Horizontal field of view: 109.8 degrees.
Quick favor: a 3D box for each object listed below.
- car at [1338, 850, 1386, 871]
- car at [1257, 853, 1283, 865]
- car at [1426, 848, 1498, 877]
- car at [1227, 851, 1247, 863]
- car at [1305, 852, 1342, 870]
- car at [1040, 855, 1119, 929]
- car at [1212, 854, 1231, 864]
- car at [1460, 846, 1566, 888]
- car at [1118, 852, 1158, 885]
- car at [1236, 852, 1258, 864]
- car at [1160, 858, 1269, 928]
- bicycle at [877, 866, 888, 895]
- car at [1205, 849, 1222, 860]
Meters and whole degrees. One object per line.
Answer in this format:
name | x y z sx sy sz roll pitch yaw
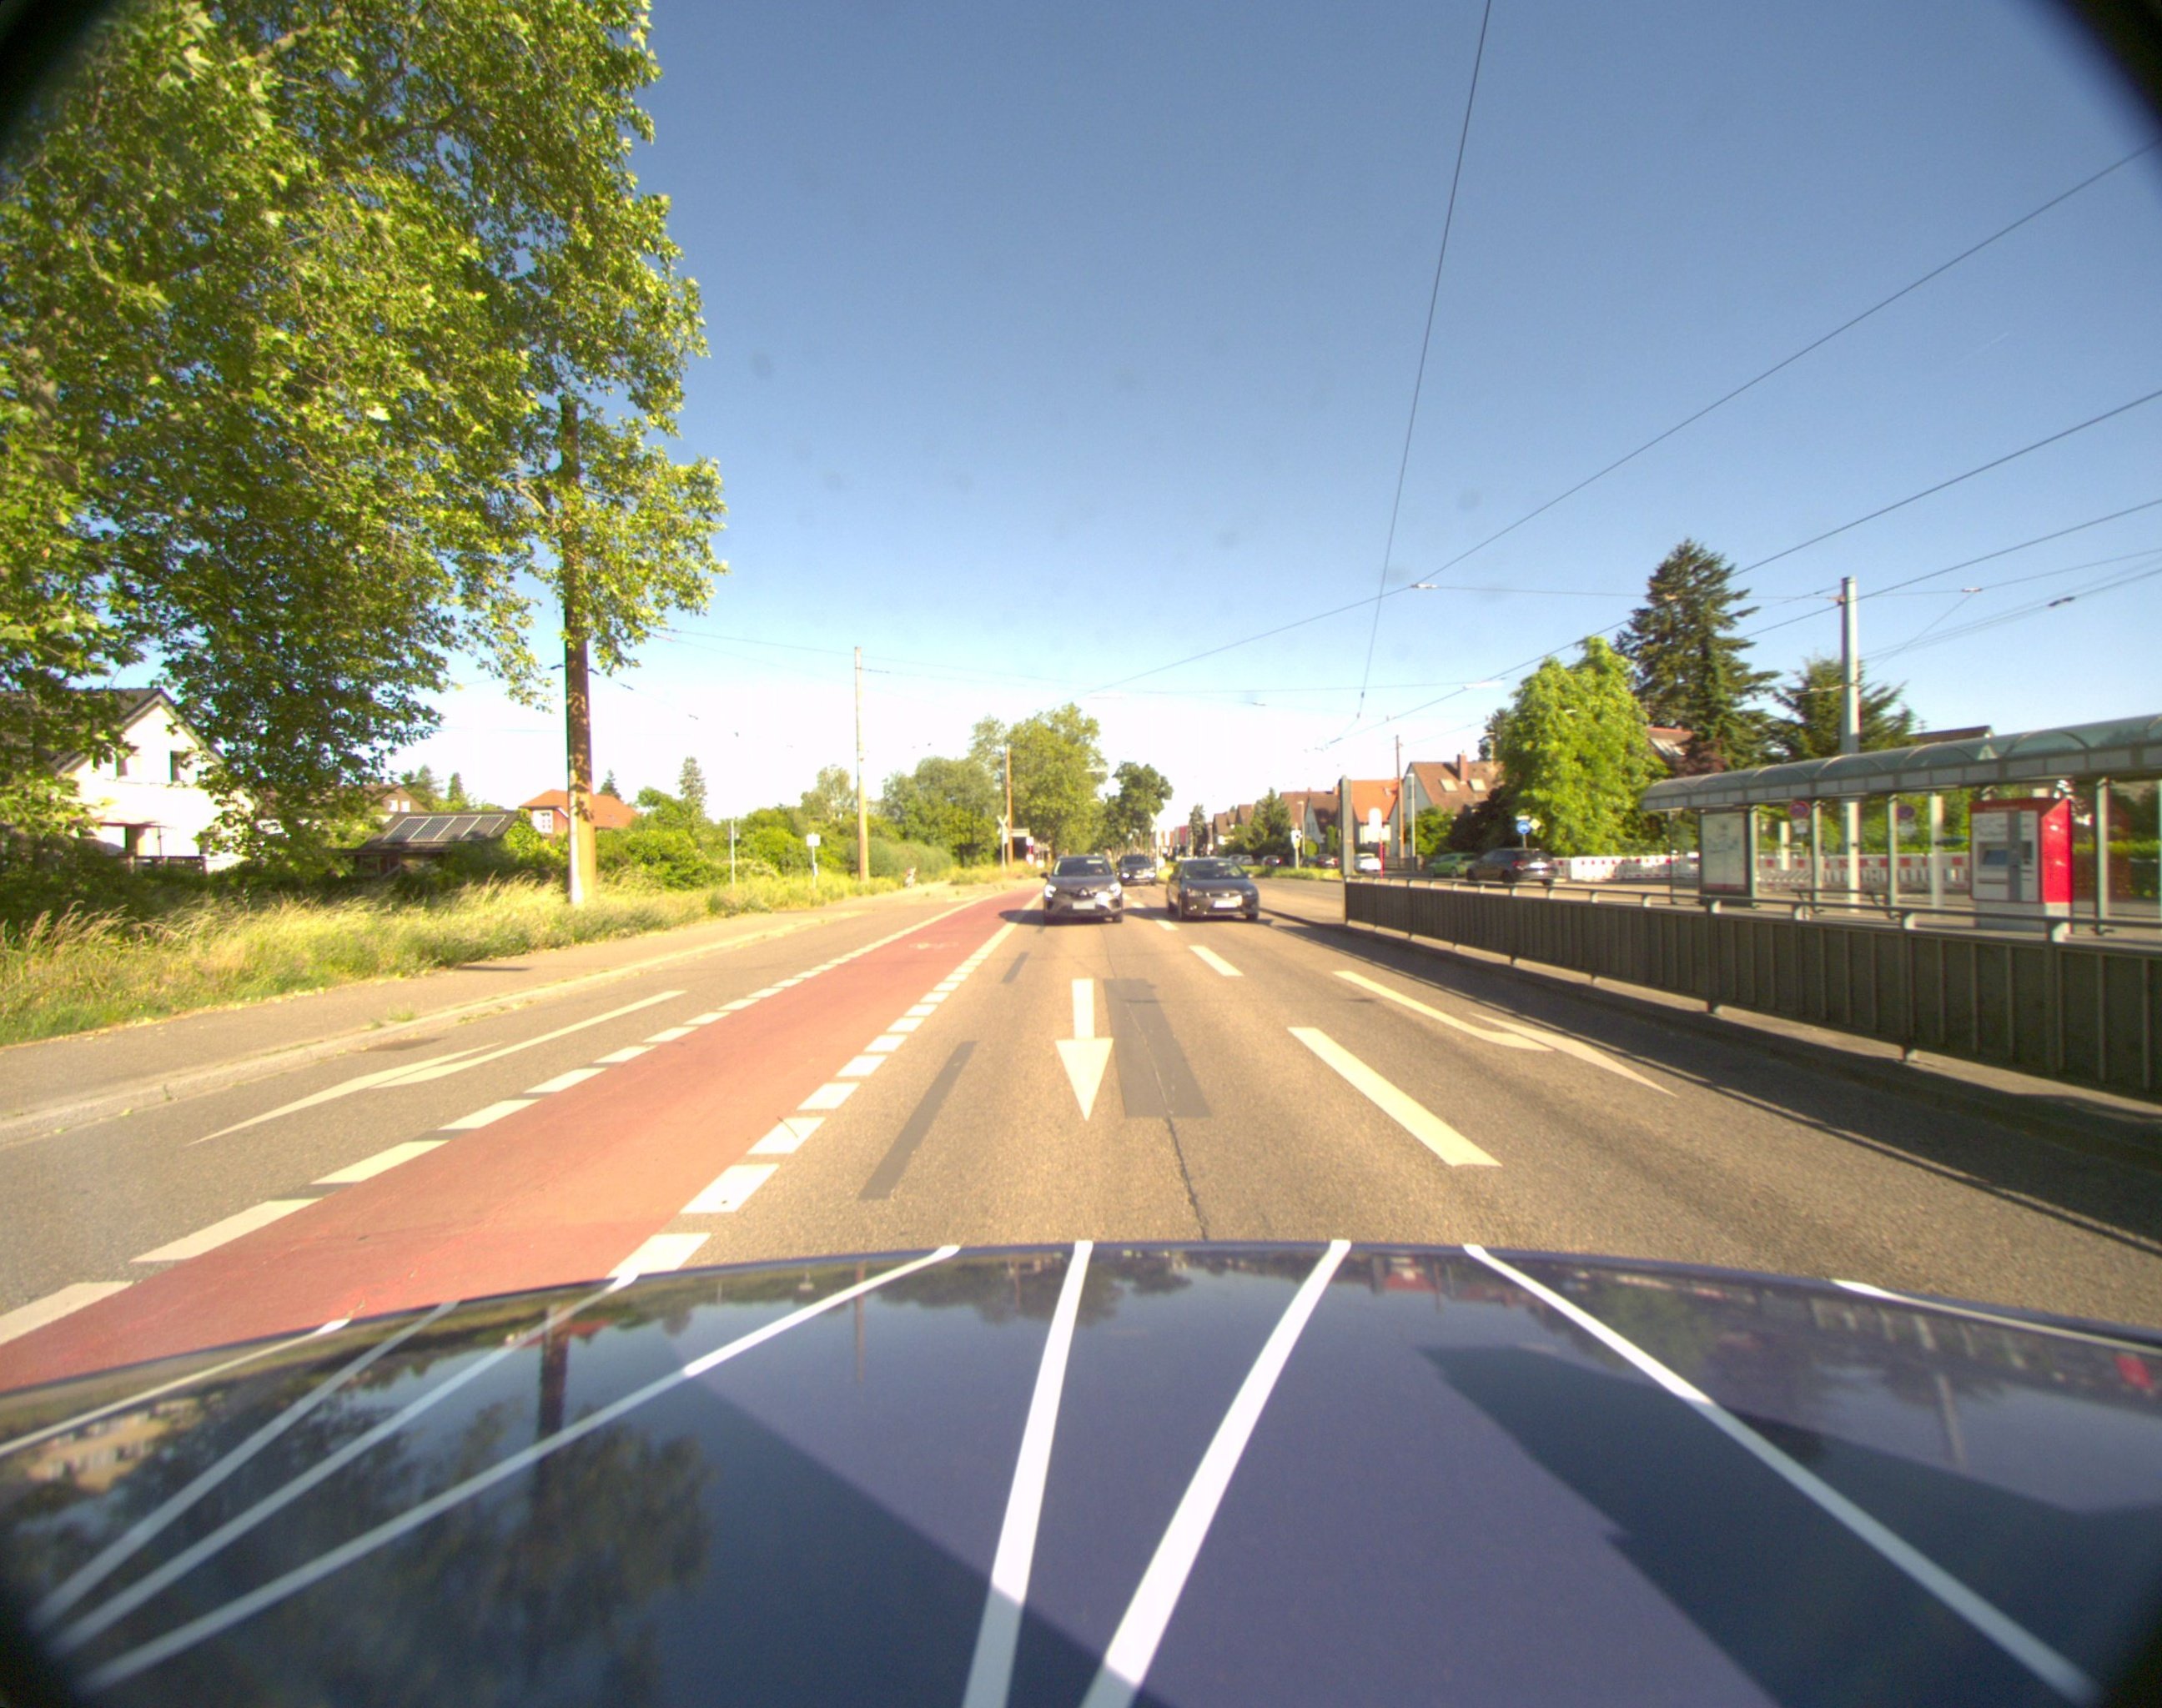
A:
car | 21.754 0.444 58.962 1.888 1.464 4.613 -3 1 -1
car | 21.775 0.555 87.542 1.998 1.363 4.310 -2 0 1
car | 21.968 0.470 44.035 1.999 1.492 4.068 -3 1 -2
car | 21.880 0.402 106.651 1.888 1.552 4.537 -3 0 0
car | 21.878 0.565 68.688 1.912 1.457 4.440 -3 1 0
car | -0.050 0.825 18.185 1.673 1.529 3.586 -2 0 -1
car | 21.895 0.746 118.358 1.998 1.333 4.982 -3 1 1
car | 17.092 0.484 30.317 1.740 1.511 4.344 -1 0 0
car | 2.966 0.745 40.156 1.780 1.620 4.288 -1 0 0
car | 22.135 0.467 101.597 1.888 1.463 4.839 -3 0 1
car | 3.120 0.861 18.612 1.780 1.441 4.333 -1 0 -1
bicycle | -8.294 1.074 31.685 0.366 1.128 2.093 -1 0 -16
car | 22.167 0.065 127.200 1.998 1.852 4.584 -2 0 1
